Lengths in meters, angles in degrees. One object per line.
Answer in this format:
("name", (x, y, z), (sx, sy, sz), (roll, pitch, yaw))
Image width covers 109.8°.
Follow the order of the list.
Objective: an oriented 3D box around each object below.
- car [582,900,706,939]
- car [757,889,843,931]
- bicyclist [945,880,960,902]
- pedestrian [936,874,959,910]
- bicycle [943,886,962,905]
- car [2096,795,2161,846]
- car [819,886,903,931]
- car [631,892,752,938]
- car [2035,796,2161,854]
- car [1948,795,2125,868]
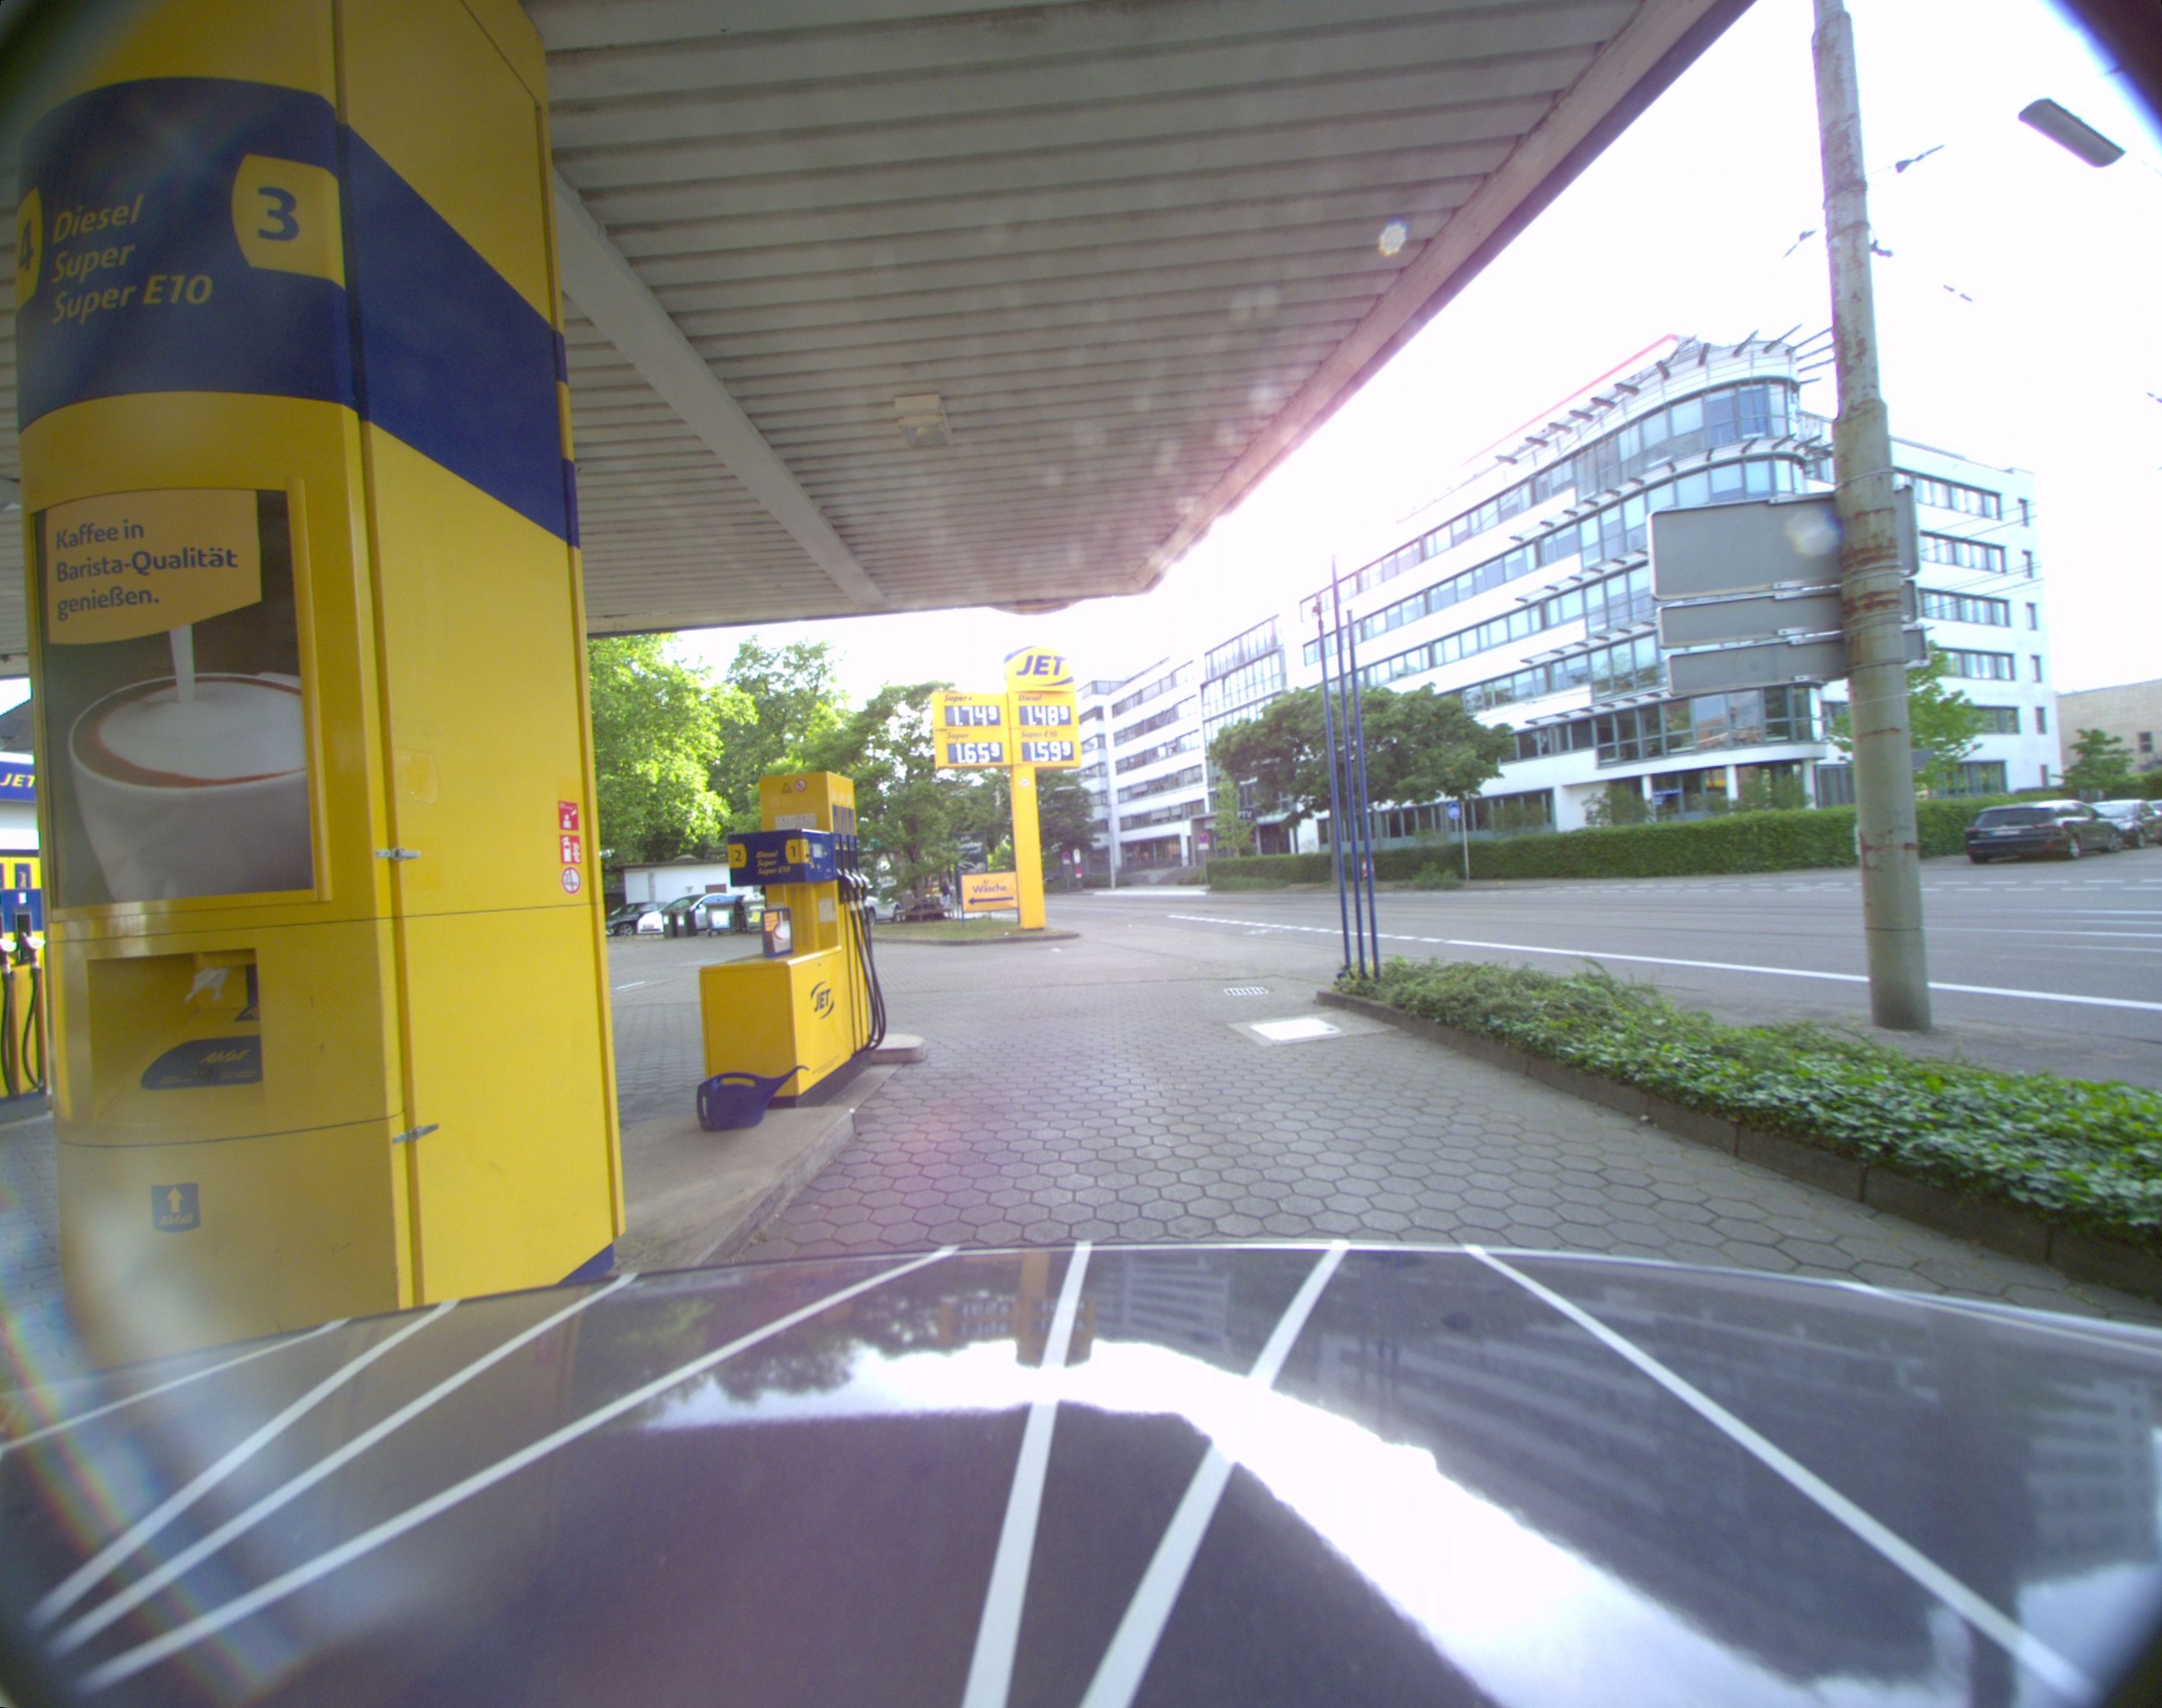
("car", (-17.748, 2.635, 31.069), (1.745, 1.269, 4.230), (-5, -3, 19))
("car", (-11.804, 2.326, 32.241), (1.739, 1.500, 4.004), (-4, -2, 6))
("bicyclist", (-8.944, 2.558, 52.738), (0.736, 1.451, 0.915), (-5, 0, -23))
("pedestrian", (-7.658, 2.180, 43.627), (0.934, 2.001, 1.214), (-2, -1, -24))
("bicycle", (-8.936, 2.884, 52.775), (0.736, 1.250, 1.936), (-5, -1, -22))
("car", (37.149, -1.231, 26.081), (4.109, 1.544, 1.786), (-4, -1, -23))
("car", (-8.689, 2.120, 30.380), (1.739, 1.500, 4.003), (-4, -2, 6))
("car", (-15.362, 2.387, 30.253), (1.785, 1.514, 4.229), (-4, -3, 17))
("car", (32.489, -0.936, 24.043), (4.109, 1.544, 1.786), (-4, -1, -23))
("car", (27.374, -0.644, 21.771), (4.438, 1.603, 1.976), (-5, -1, -23))
